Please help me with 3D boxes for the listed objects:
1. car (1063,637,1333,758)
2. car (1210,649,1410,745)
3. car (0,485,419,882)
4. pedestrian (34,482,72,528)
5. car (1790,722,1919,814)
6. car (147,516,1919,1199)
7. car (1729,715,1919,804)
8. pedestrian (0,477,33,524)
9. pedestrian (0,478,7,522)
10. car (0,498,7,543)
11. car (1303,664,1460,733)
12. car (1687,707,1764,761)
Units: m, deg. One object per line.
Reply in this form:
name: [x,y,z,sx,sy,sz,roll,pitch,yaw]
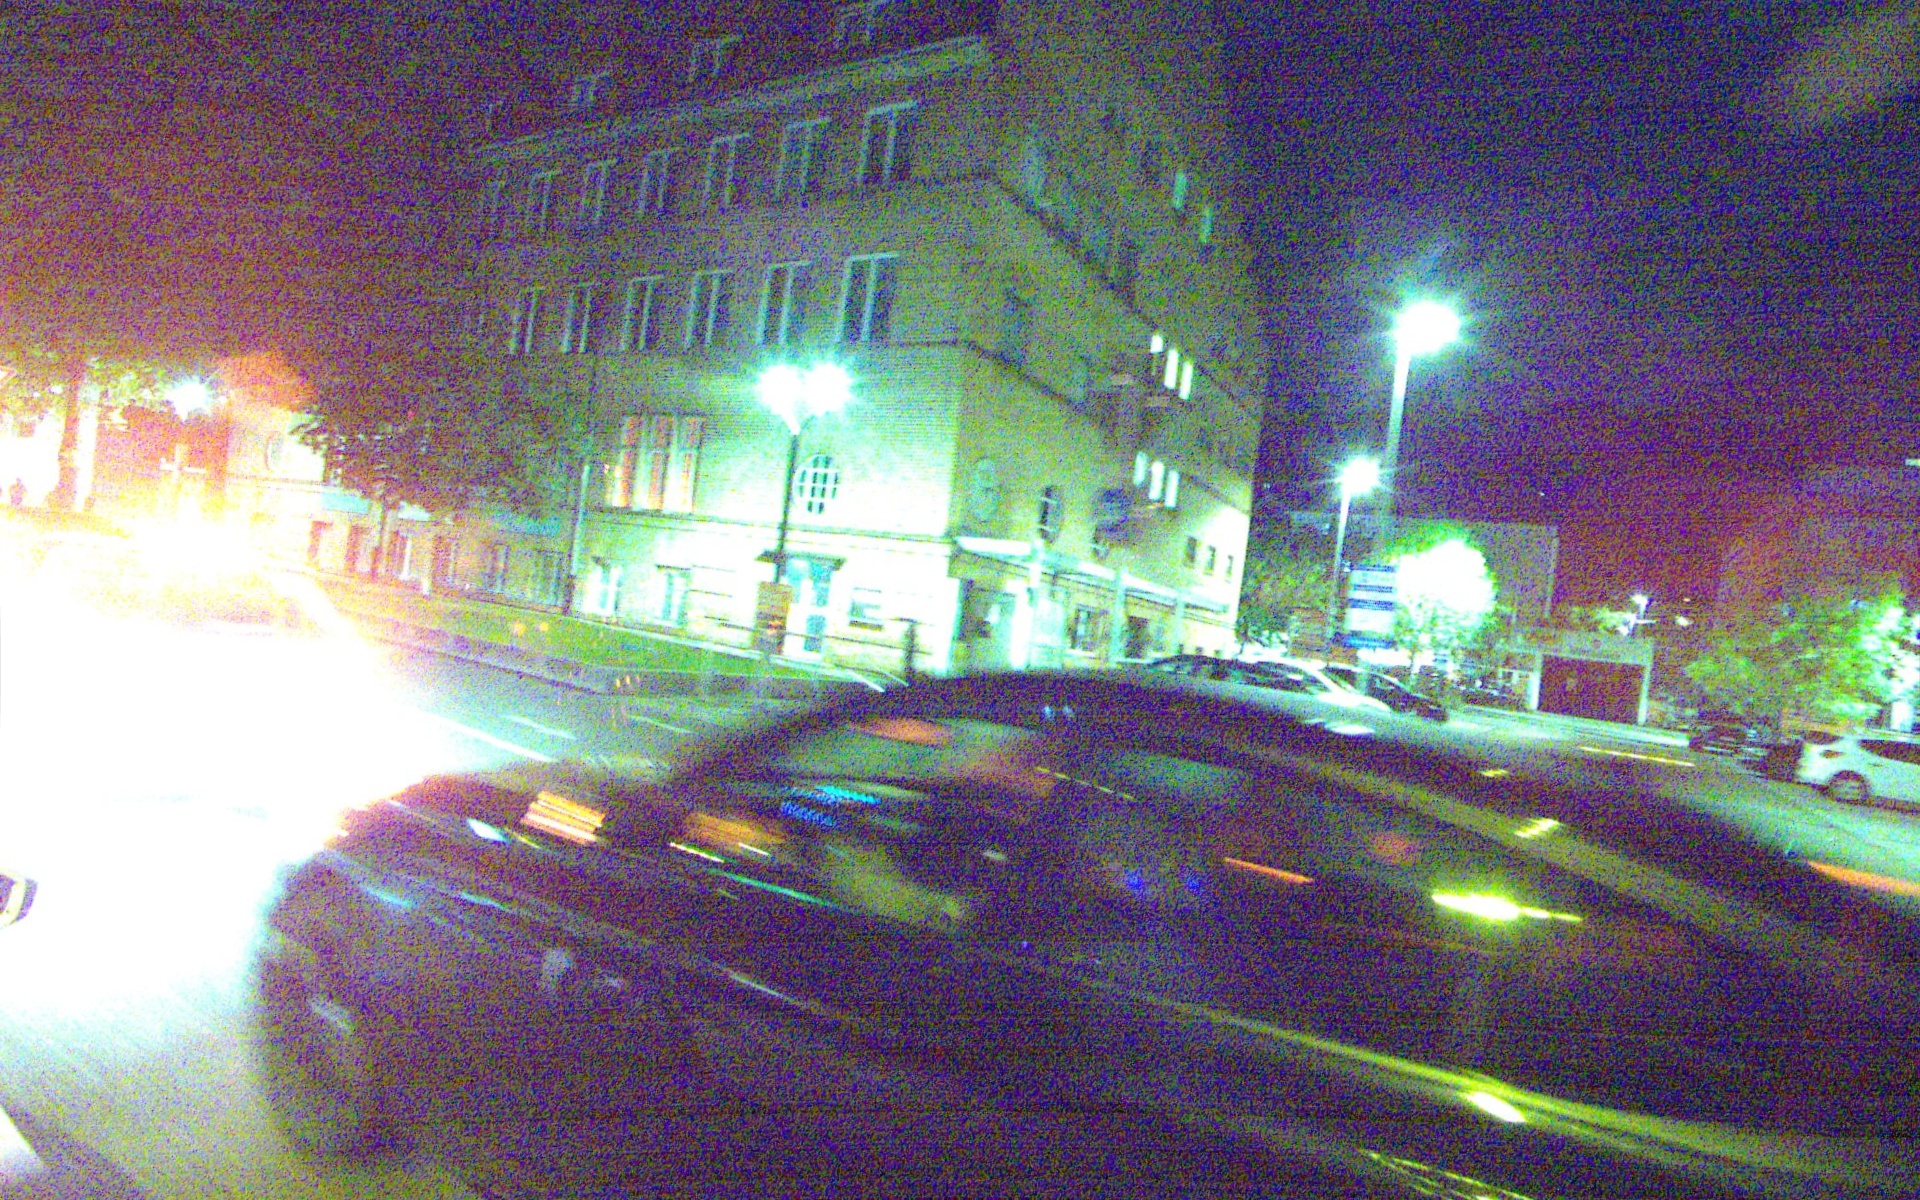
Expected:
car: [4.246,1.705,18.323,4.410,1.412,1.514,8,0,34]
car: [8.101,2.203,23.401,3.935,1.552,1.784,7,0,34]
car: [-4.946,0.206,5.470,3.934,1.511,1.641,7,-2,32]
pedestrian: [-38.883,-4.052,43.128,0.892,1.791,0.902,8,1,32]
car: [20.326,3.688,21.182,4.031,1.552,1.771,7,0,32]
car: [0.163,0.849,2.428,4.652,1.510,1.809,7,-3,33]
car: [22.624,4.080,25.364,4.810,1.531,1.892,7,0,31]
pedestrian: [-39.394,-4.154,41.948,0.892,1.791,0.739,8,1,32]
pedestrian: [-39.793,-4.160,41.236,0.892,1.791,0.715,8,1,32]
car: [-10.485,-0.478,8.958,4.140,1.451,1.734,7,-2,31]
car: [13.161,3.037,31.449,4.170,1.445,1.997,7,-1,32]
car: [31.806,5.525,41.928,2.046,1.786,4.542,7,-1,33]
